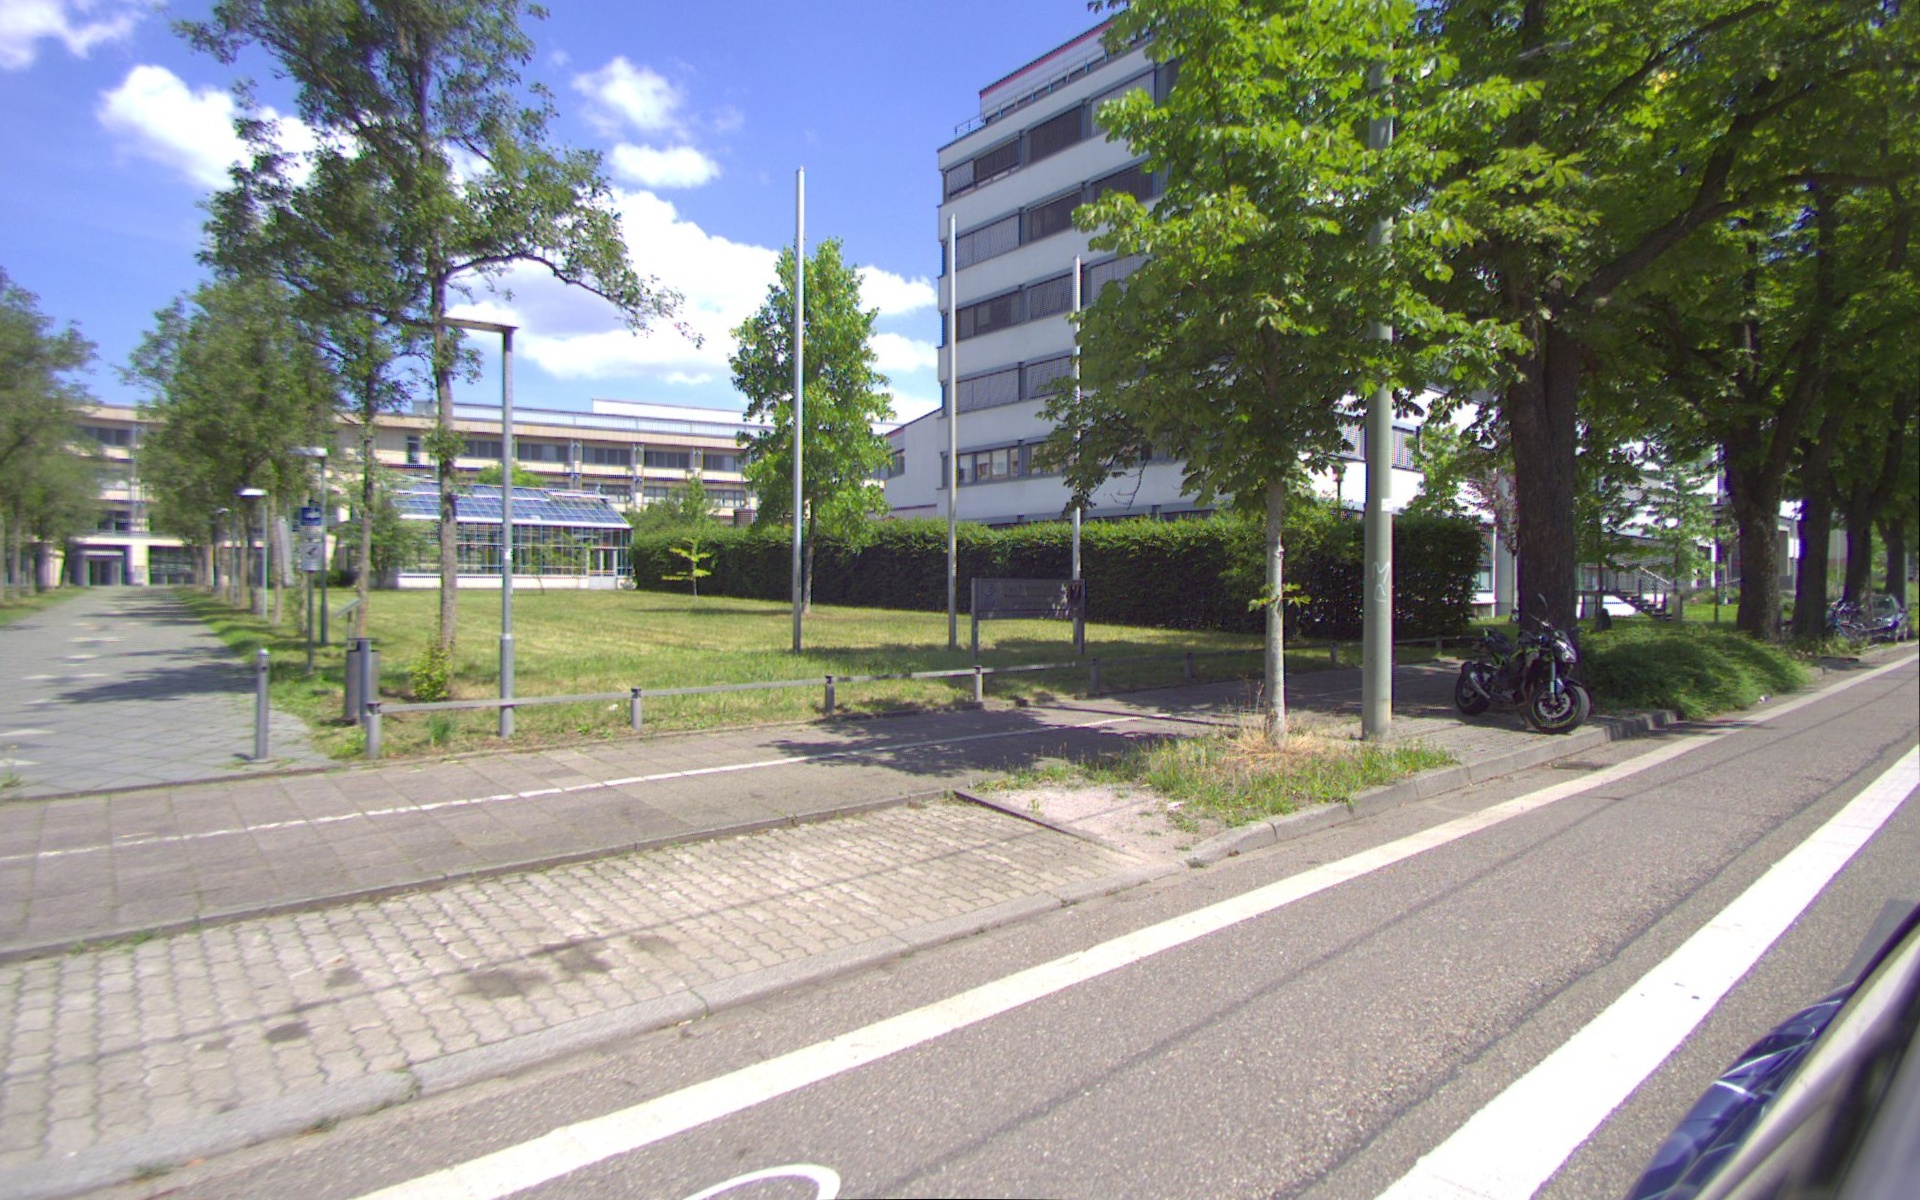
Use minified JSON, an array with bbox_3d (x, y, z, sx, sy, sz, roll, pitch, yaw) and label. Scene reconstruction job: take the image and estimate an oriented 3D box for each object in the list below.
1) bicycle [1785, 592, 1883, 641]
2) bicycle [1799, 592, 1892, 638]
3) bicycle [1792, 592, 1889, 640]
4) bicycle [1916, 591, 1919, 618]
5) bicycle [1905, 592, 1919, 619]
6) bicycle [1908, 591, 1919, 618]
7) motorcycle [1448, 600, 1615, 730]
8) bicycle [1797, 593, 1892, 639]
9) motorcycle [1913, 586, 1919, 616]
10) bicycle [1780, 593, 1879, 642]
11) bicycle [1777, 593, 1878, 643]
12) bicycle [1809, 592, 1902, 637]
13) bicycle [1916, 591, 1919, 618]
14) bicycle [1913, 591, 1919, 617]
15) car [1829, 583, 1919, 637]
[{"bbox_3d":[21.703,0.397,25.158,0.388,1.125,1.810,0,2,-43],"label":"bicycle"},{"bbox_3d":[23.238,0.388,26.612,1.806,1.125,0.528,2,2,41],"label":"bicycle"},{"bbox_3d":[22.345,0.394,25.727,1.803,1.125,0.484,2,2,36],"label":"bicycle"},{"bbox_3d":[40.810,0.160,41.862,0.560,1.125,1.809,0,-1,-44],"label":"bicycle"},{"bbox_3d":[39.716,0.208,41.139,0.560,1.125,1.842,0,-1,-44],"label":"bicycle"},{"bbox_3d":[40.216,0.178,41.555,0.560,1.125,1.809,0,-1,-44],"label":"bicycle"},{"bbox_3d":[6.189,0.644,11.105,0.601,1.227,2.063,-1,1,-2],"label":"motorcycle"},{"bbox_3d":[22.828,0.398,26.156,1.806,1.125,0.525,2,2,41],"label":"bicycle"},{"bbox_3d":[43.026,0.044,44.345,1.812,1.293,0.710,1,1,42],"label":"motorcycle"},{"bbox_3d":[21.389,0.407,24.919,0.388,1.125,1.809,0,2,-43],"label":"bicycle"},{"bbox_3d":[21.080,0.411,24.630,0.442,1.125,1.810,0,2,-43],"label":"bicycle"},{"bbox_3d":[23.804,0.374,26.935,0.506,1.125,1.809,0,2,-43],"label":"bicycle"},{"bbox_3d":[41.214,0.161,42.284,0.560,1.125,1.809,0,-1,-44],"label":"bicycle"},{"bbox_3d":[41.910,0.155,43.154,0.560,1.125,1.809,0,-1,-44],"label":"bicycle"},{"bbox_3d":[27.732,0.257,30.541,4.555,1.485,1.679,-1,2,-42],"label":"car"}]
